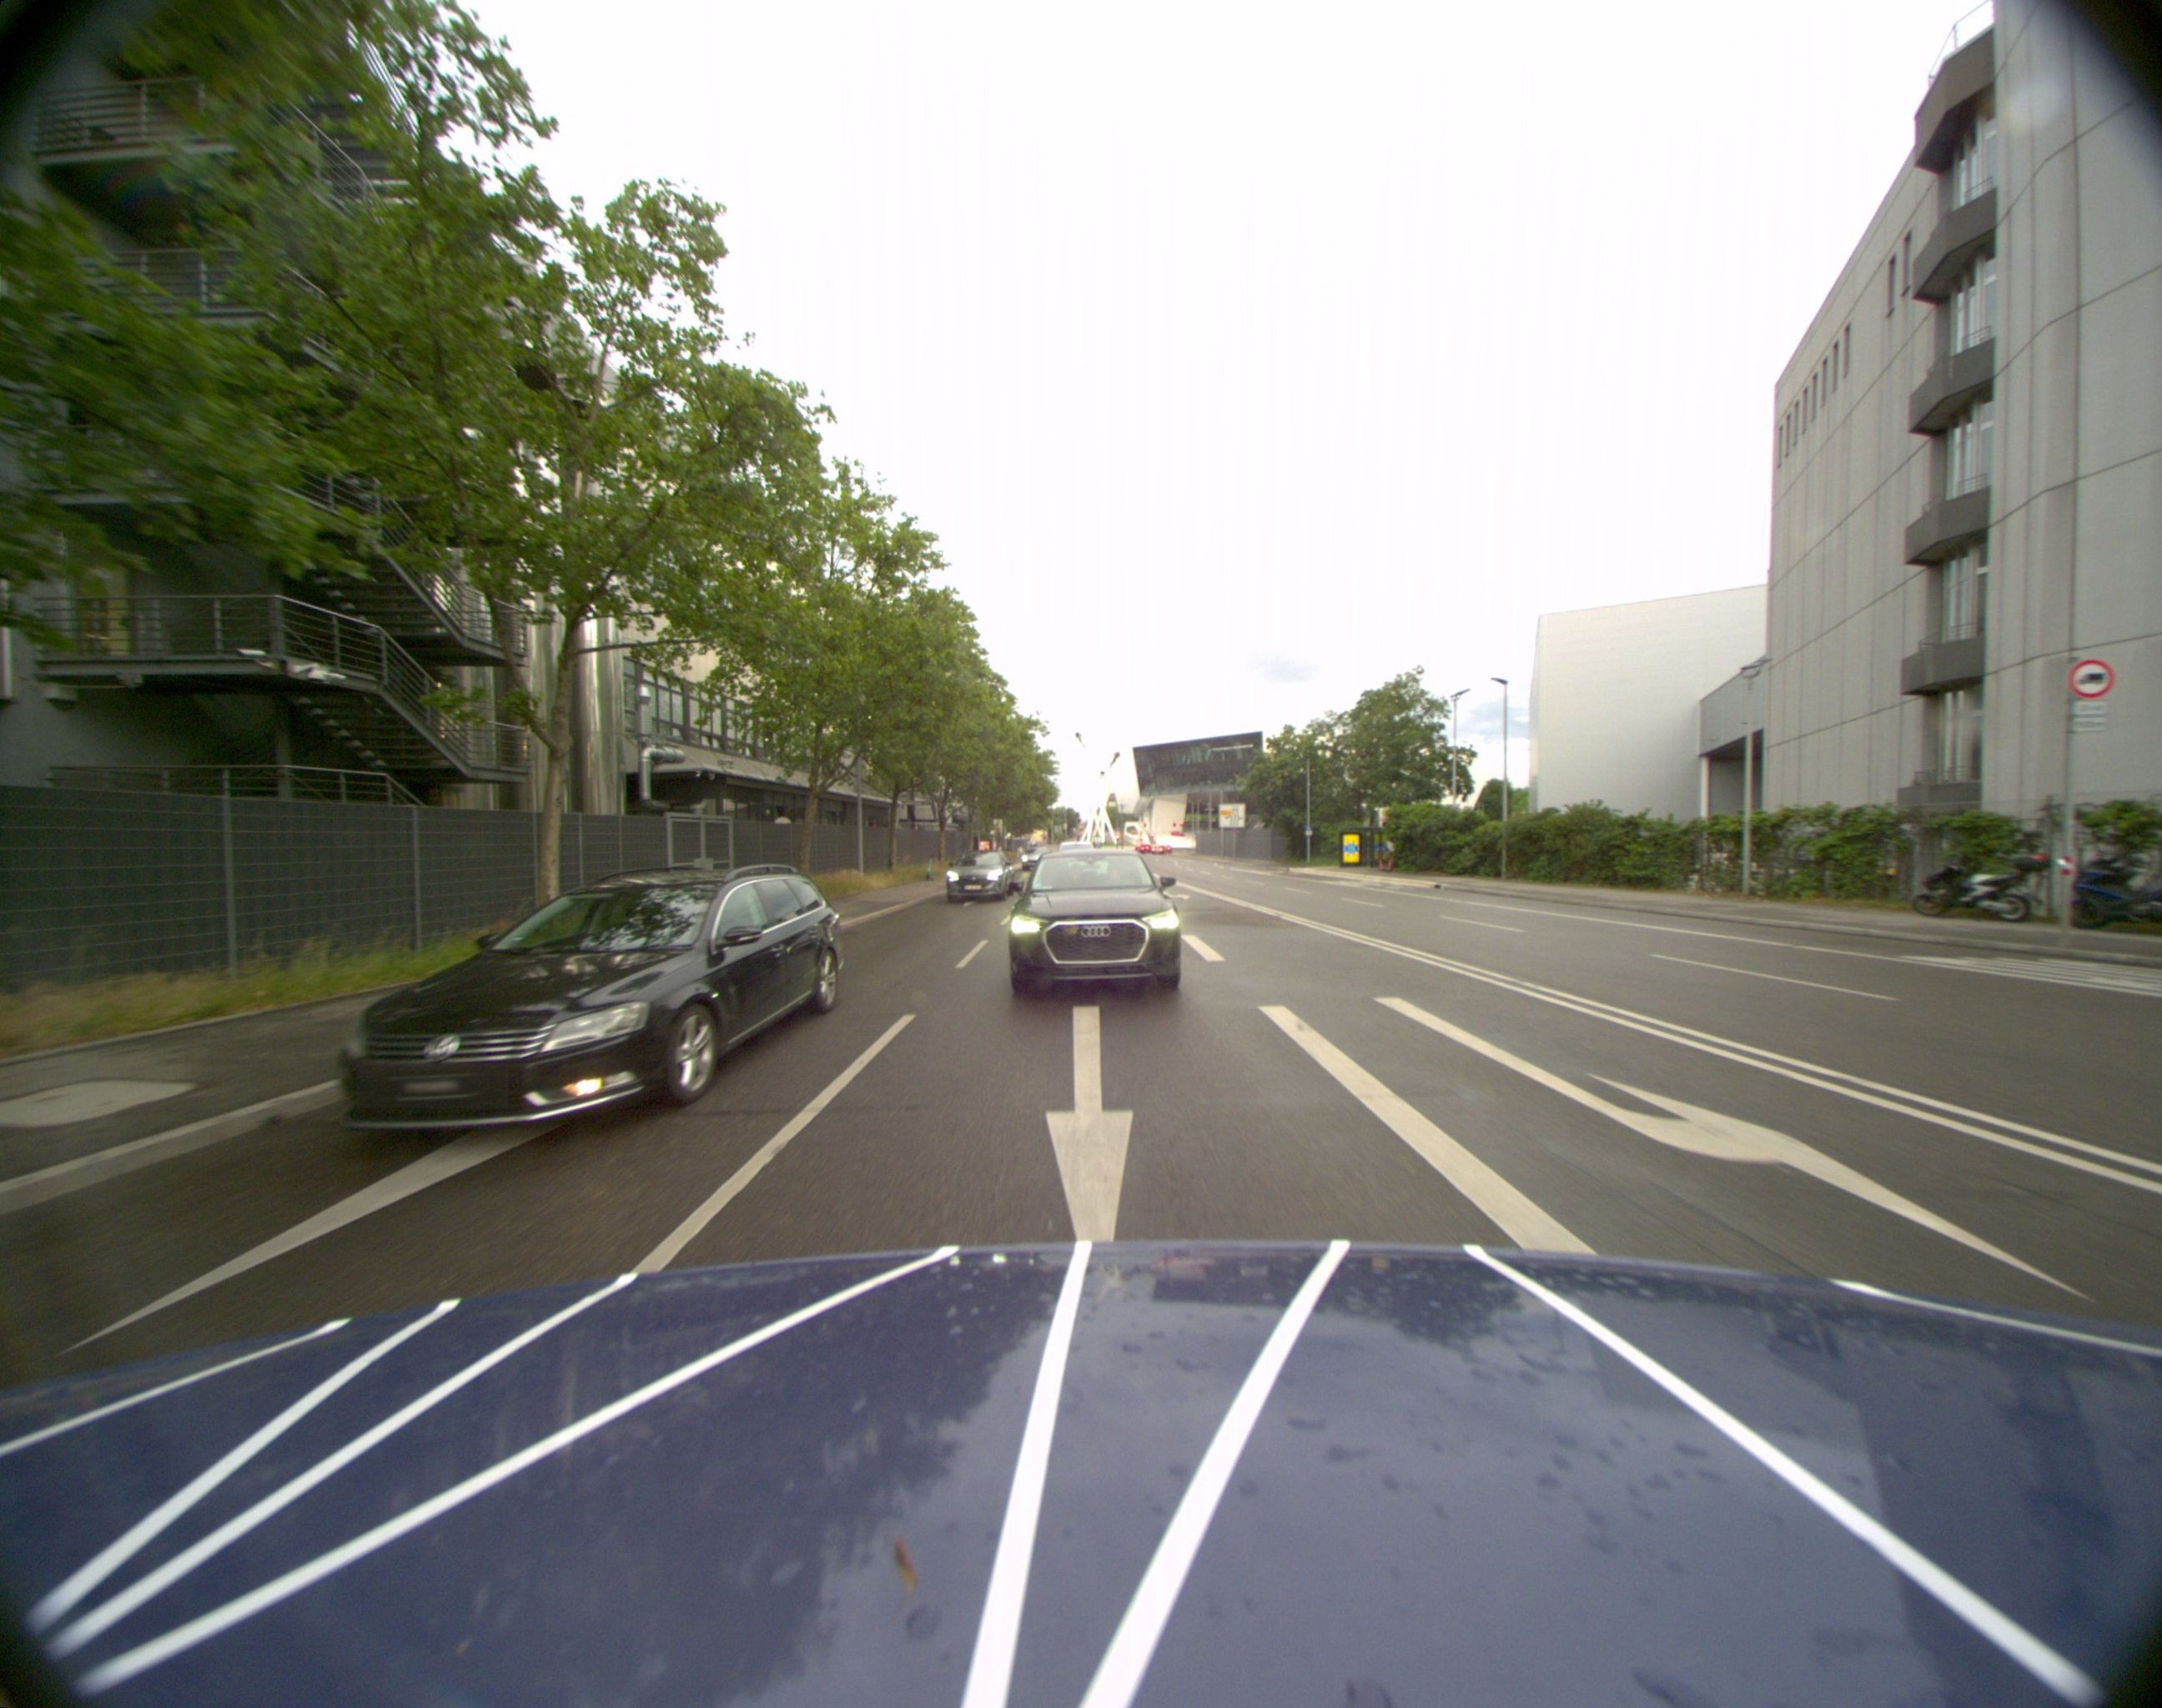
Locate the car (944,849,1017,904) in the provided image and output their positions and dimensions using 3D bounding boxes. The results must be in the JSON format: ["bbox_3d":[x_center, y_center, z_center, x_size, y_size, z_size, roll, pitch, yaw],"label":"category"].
[{"bbox_3d":[-3.187,0.658,24.870,1.951,1.610,4.072,0,1,-1],"label":"car"}]

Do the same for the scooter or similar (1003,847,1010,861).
[{"bbox_3d":[-7.153,0.010,72.868,0.437,1.288,1.300,-1,1,3],"label":"scooter or similar"}]

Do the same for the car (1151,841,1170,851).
[{"bbox_3d":[12.917,-1.318,123.578,2.267,1.469,4.052,0,1,17],"label":"car"}]

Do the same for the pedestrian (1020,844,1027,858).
[{"bbox_3d":[-6.729,-0.331,88.710,0.723,1.610,0.833,2,2,-1],"label":"pedestrian"}]

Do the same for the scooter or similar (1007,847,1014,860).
[{"bbox_3d":[-7.086,-0.020,76.382,0.437,1.288,1.300,-1,1,3],"label":"scooter or similar"}]

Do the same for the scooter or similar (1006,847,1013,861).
[{"bbox_3d":[-6.984,0.010,74.286,0.437,1.288,1.300,-1,1,3],"label":"scooter or similar"}]

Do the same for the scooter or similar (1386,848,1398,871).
[{"bbox_3d":[16.278,0.259,39.748,0.379,1.174,1.378,0,1,13],"label":"scooter or similar"}]

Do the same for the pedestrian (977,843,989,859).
[{"bbox_3d":[-8.579,-0.288,66.519,0.933,1.408,0.698,-1,2,-1],"label":"pedestrian"}]

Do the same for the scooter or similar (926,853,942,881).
[{"bbox_3d":[-6.877,0.587,35.596,0.329,1.262,1.109,0,1,9],"label":"scooter or similar"}]

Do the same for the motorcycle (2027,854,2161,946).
[{"bbox_3d":[16.444,0.685,11.694,0.786,1.340,2.369,0,1,0],"label":"motorcycle"}]

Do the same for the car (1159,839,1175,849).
[{"bbox_3d":[14.755,-1.778,130.404,1.861,1.641,3.792,0,1,19],"label":"car"}]

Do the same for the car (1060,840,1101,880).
[{"bbox_3d":[-0.080,0.268,38.180,1.951,1.879,4.490,0,1,-1],"label":"car"}]

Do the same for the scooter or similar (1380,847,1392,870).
[{"bbox_3d":[16.530,0.237,41.204,0.389,1.174,1.251,0,1,13],"label":"scooter or similar"}]

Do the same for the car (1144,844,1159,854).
[{"bbox_3d":[12.163,-0.906,131.747,1.878,1.641,3.856,0,1,16],"label":"car"}]

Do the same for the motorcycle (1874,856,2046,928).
[{"bbox_3d":[16.815,0.674,14.645,0.786,1.243,2.157,0,1,0],"label":"motorcycle"}]

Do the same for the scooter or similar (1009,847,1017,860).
[{"bbox_3d":[-6.999,-0.052,78.247,0.437,1.288,1.367,0,1,7],"label":"scooter or similar"}]

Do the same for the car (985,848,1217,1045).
[{"bbox_3d":[0.115,0.777,9.205,1.951,1.610,5.275,-2,1,-1],"label":"car"}]

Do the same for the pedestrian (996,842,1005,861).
[{"bbox_3d":[-7.478,-0.234,70.456,0.778,1.700,0.729,-1,2,-1],"label":"pedestrian"}]

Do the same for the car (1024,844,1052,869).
[{"bbox_3d":[-3.164,0.168,56.390,1.951,1.767,4.490,0,1,-1],"label":"car"}]

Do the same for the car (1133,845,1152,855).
[{"bbox_3d":[10.176,-0.686,125.371,2.255,1.469,3.883,0,1,17],"label":"car"}]

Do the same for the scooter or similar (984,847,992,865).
[{"bbox_3d":[-7.041,0.160,57.499,0.329,1.301,1.246,-1,1,4],"label":"scooter or similar"}]

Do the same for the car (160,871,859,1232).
[{"bbox_3d":[-3.319,0.963,5.904,1.842,1.444,4.784,-2,1,-1],"label":"car"}]
